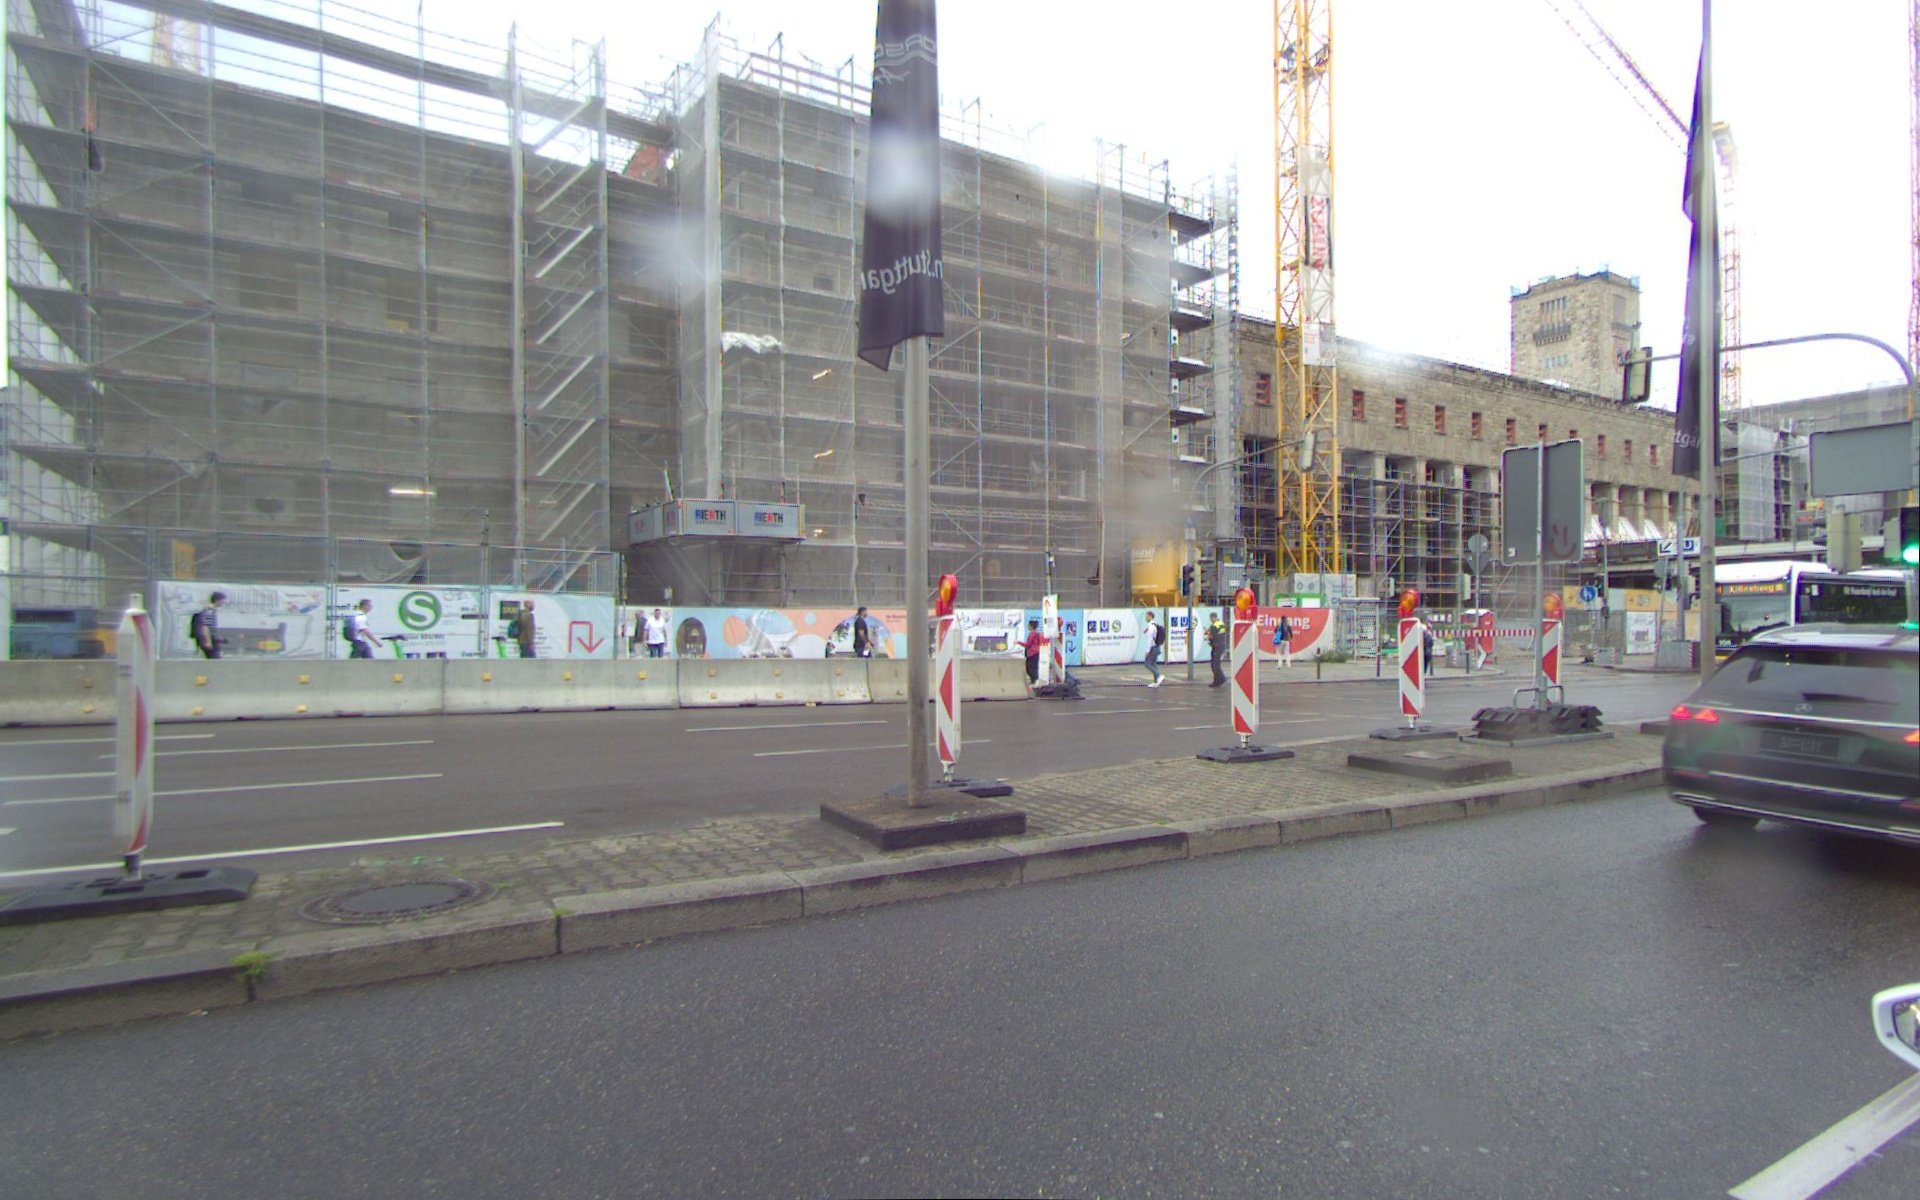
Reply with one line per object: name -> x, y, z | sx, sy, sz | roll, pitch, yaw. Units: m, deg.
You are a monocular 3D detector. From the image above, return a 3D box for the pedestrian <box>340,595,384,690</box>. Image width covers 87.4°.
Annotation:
pedestrian -> -11.983, 0.844, 20.140 | 0.709, 1.860, 0.478 | 1, 0, -30

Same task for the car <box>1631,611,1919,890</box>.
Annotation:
car -> 6.929, 0.886, 7.095 | 4.533, 1.489, 1.846 | 2, 0, -30

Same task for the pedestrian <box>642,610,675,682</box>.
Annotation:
pedestrian -> -7.998, 1.208, 26.632 | 0.709, 1.860, 0.478 | 1, 0, -30

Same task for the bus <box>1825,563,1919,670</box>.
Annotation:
bus -> 36.499, 0.671, 37.921 | 10.092, 3.650, 2.655 | 2, 0, -30

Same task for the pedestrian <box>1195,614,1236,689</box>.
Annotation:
pedestrian -> 6.469, 1.301, 25.447 | 0.810, 1.860, 0.575 | 1, 0, -30

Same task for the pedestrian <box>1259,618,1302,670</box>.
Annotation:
pedestrian -> 10.172, 1.396, 31.884 | 0.890, 1.584, 0.909 | 1, 0, -33

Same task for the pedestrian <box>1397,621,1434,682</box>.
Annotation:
pedestrian -> 12.205, 1.360, 26.960 | 0.771, 1.581, 0.875 | 2, 0, 18

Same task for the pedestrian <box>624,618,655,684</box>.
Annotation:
pedestrian -> -9.114, 1.446, 28.579 | 0.709, 1.860, 0.478 | 1, 0, -30

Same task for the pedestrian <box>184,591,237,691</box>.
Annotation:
pedestrian -> -14.316, 0.775, 19.204 | 0.709, 1.860, 0.583 | 1, 0, -30

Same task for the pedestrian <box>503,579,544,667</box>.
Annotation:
pedestrian -> -9.366, 0.492, 21.554 | 0.709, 1.860, 0.478 | 1, 0, -30

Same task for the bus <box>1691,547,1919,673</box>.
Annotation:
bus -> 27.865, 0.410, 32.742 | 10.119, 3.650, 2.655 | 2, 0, -30

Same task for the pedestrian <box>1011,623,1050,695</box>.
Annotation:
pedestrian -> 1.731, 1.436, 24.638 | 0.613, 1.740, 0.794 | 1, -2, -33

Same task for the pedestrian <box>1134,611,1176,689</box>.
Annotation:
pedestrian -> 4.909, 1.243, 25.313 | 0.614, 1.915, 0.793 | 1, 0, -38

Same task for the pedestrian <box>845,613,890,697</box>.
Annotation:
pedestrian -> -2.094, 1.228, 22.820 | 0.810, 1.860, 0.575 | 1, 0, -30
